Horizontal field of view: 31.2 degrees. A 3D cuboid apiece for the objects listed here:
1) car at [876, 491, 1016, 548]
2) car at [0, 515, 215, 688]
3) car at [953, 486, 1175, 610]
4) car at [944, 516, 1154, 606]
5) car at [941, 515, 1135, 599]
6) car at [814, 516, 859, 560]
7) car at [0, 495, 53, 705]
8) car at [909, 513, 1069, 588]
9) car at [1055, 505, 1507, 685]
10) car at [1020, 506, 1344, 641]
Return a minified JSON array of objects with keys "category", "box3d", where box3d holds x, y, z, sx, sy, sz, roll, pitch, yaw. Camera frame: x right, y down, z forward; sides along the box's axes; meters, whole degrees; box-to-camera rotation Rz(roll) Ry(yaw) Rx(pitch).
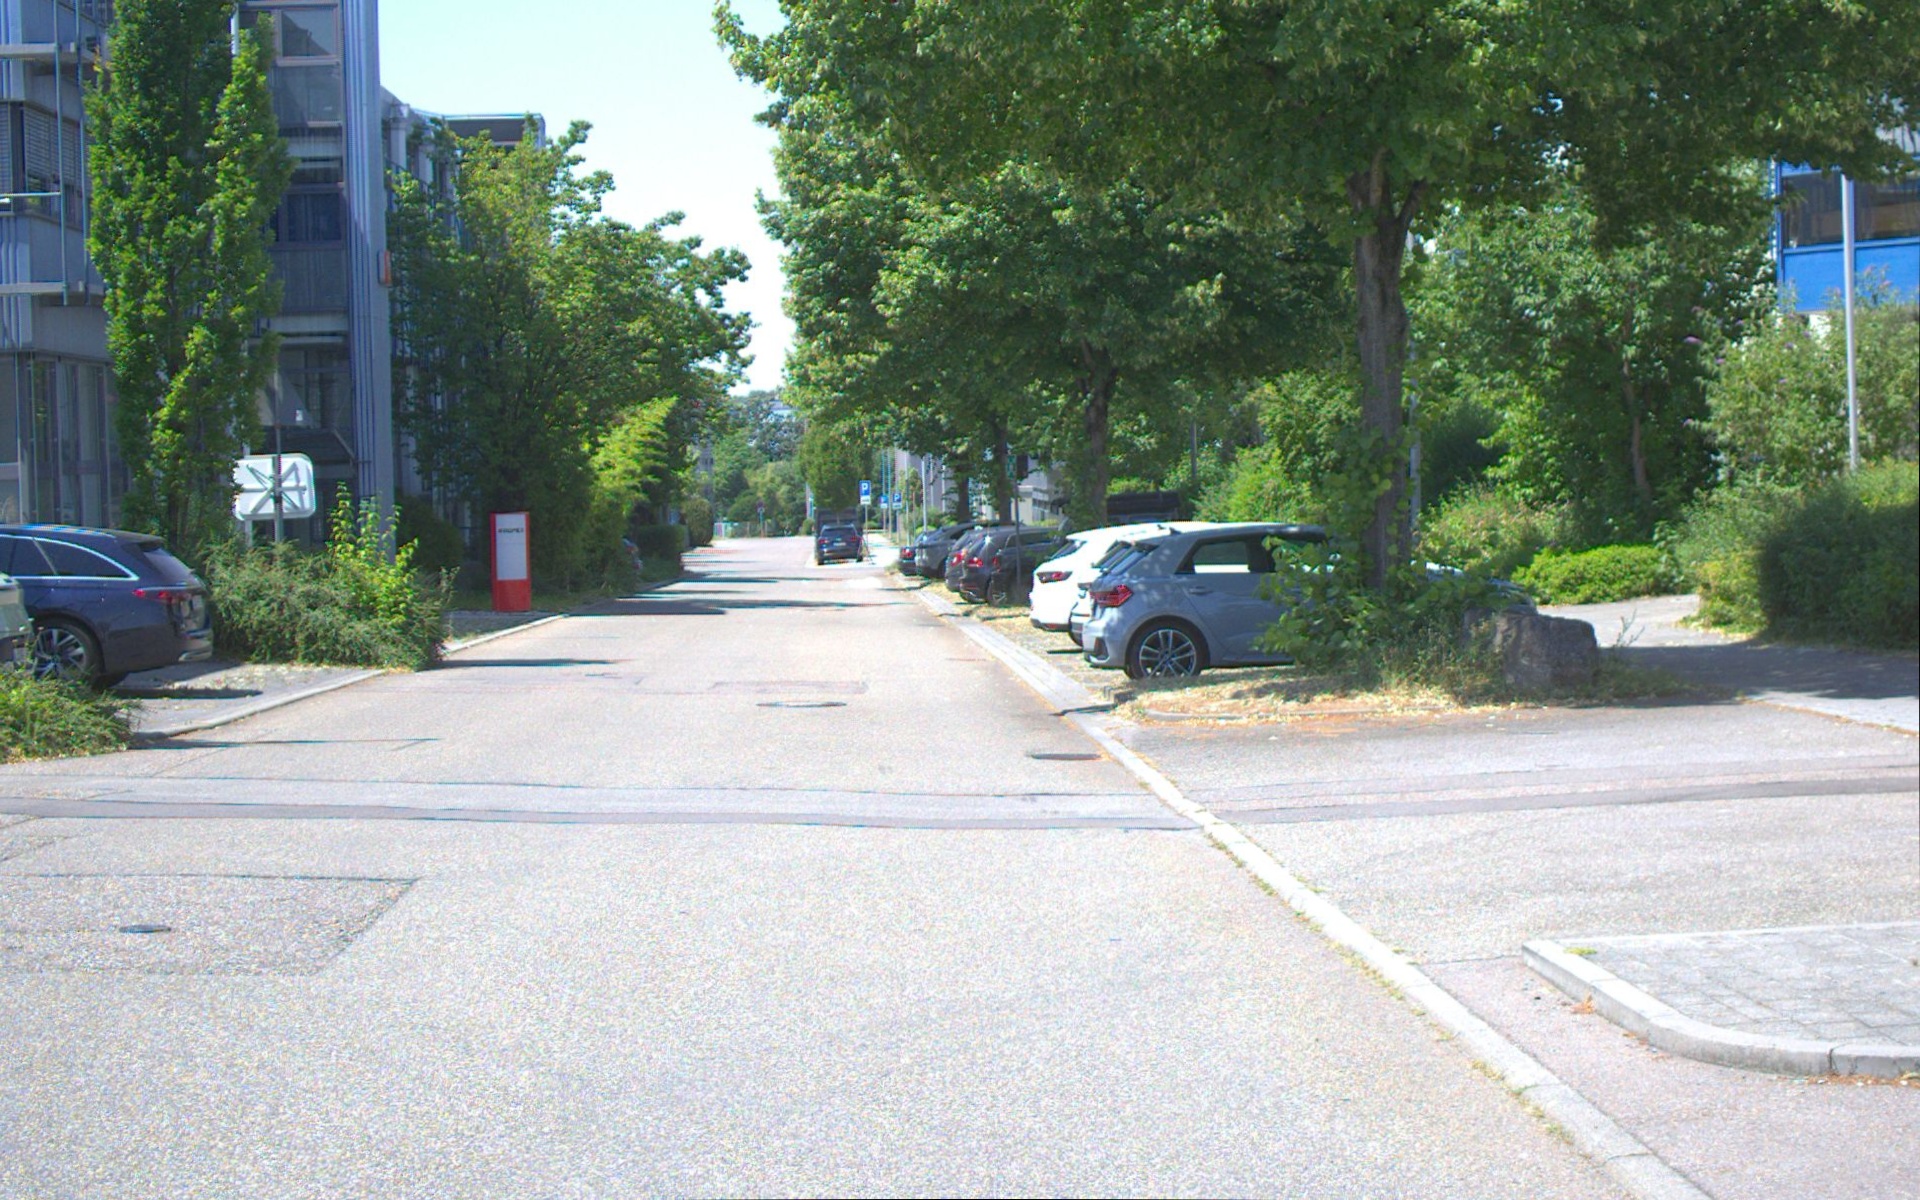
[{"category":"car","box3d":[-0.431,-2.407,102.021,3.930,1.572,1.768,-1,5,-9]},{"category":"car","box3d":[-8.091,-0.002,29.935,3.057,1.473,1.293,0,1,-8]},{"category":"car","box3d":[1.771,-0.896,59.460,3.721,2.103,1.814,0,1,-2]},{"category":"car","box3d":[1.599,-0.718,62.671,3.721,1.621,1.814,0,1,-2]},{"category":"car","box3d":[1.520,-0.854,67.938,3.721,1.621,1.814,0,1,-2]},{"category":"car","box3d":[-5.061,-2.548,141.301,1.761,1.749,3.945,0,1,-1]},{"category":"car","box3d":[-8.839,-0.006,25.063,4.045,1.489,1.729,0,1,-4]},{"category":"car","box3d":[0.748,-1.317,90.026,3.930,1.828,1.768,-1,5,-9]},{"category":"car","box3d":[2.815,-0.062,30.542,3.678,1.350,1.646,-3,1,-6]},{"category":"car","box3d":[2.570,-0.323,40.248,3.516,1.350,1.538,-3,1,-6]}]
